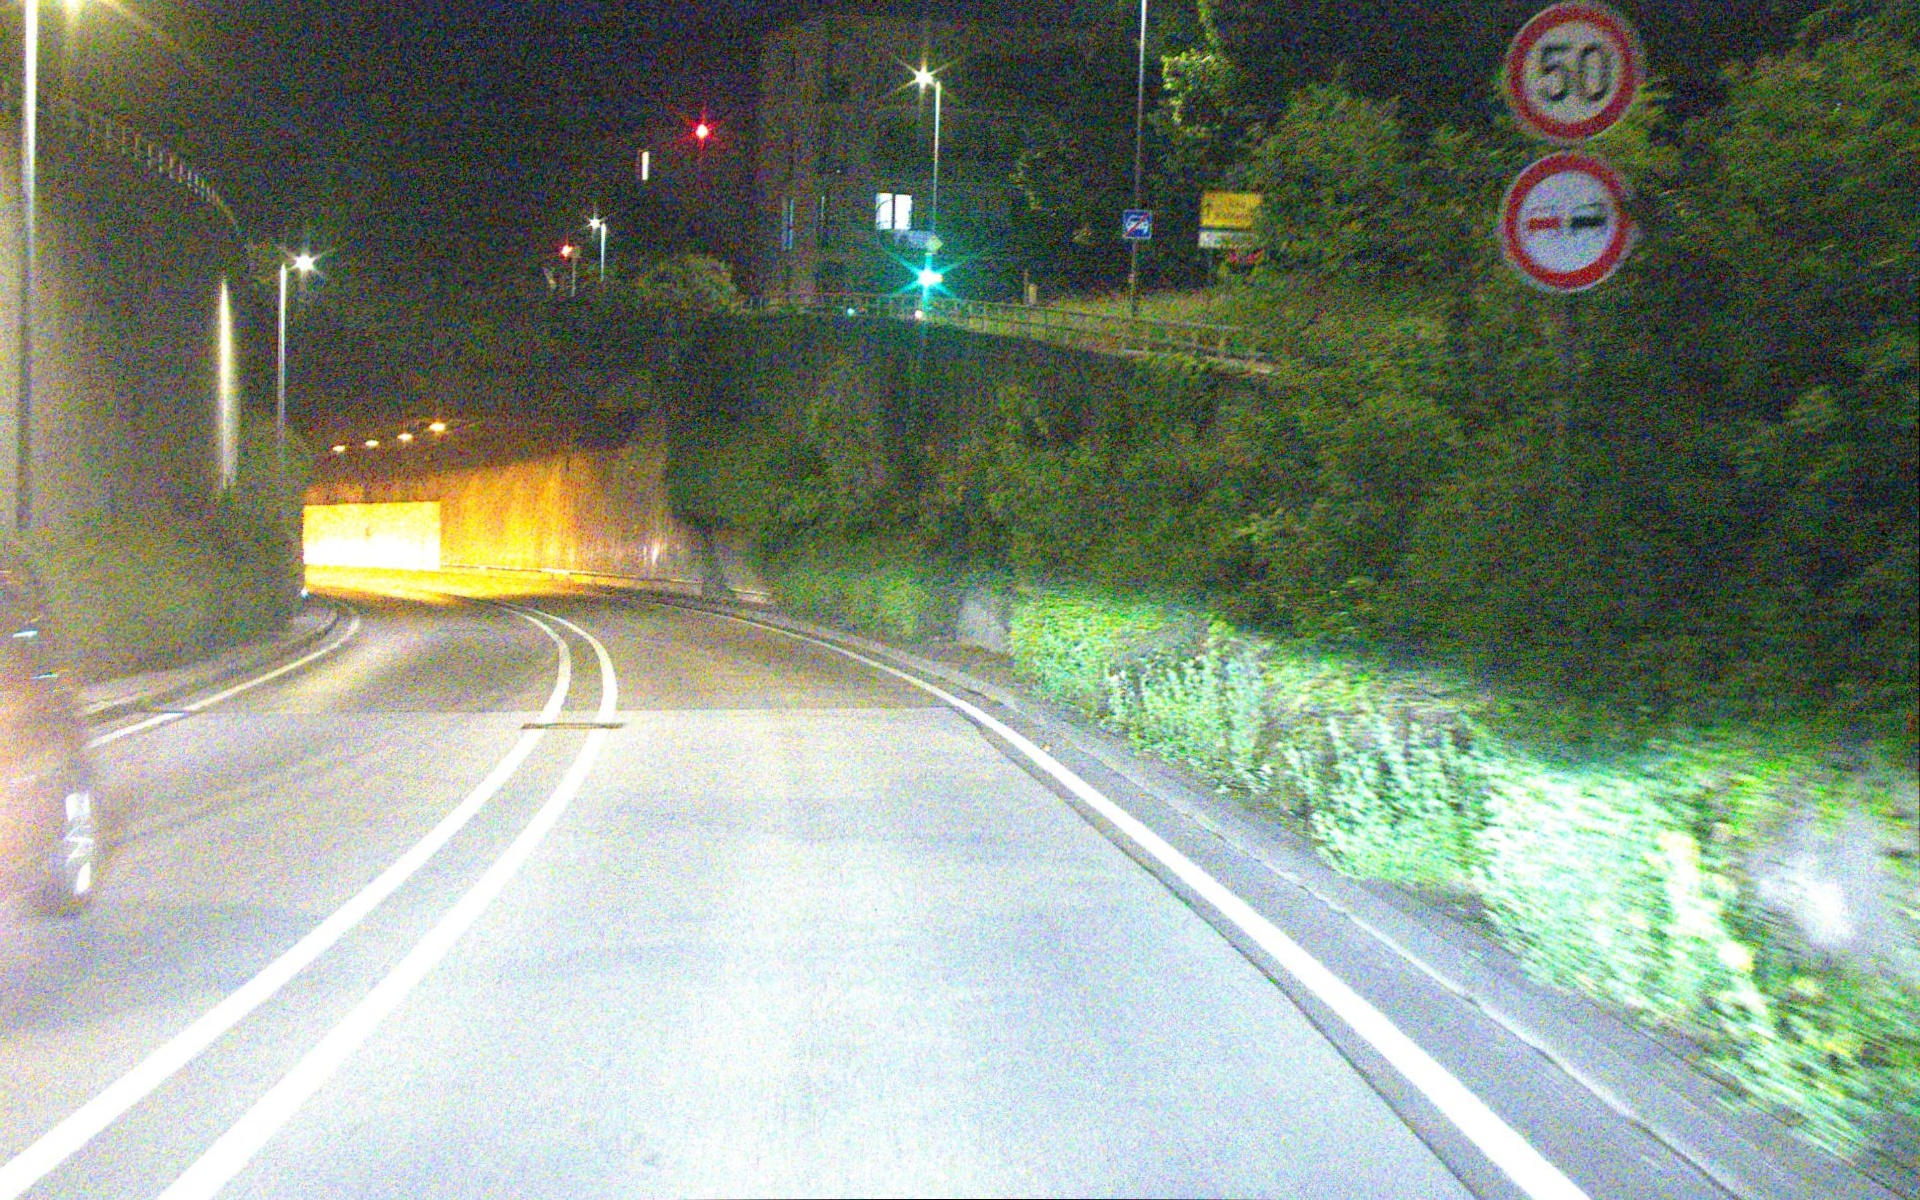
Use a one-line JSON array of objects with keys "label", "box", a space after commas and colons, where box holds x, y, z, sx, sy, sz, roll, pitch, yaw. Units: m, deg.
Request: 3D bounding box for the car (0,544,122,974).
[{"label": "car", "box": [-4.304, 0.554, 12.250, 1.858, 1.505, 4.001, 0, 1, -3]}]
